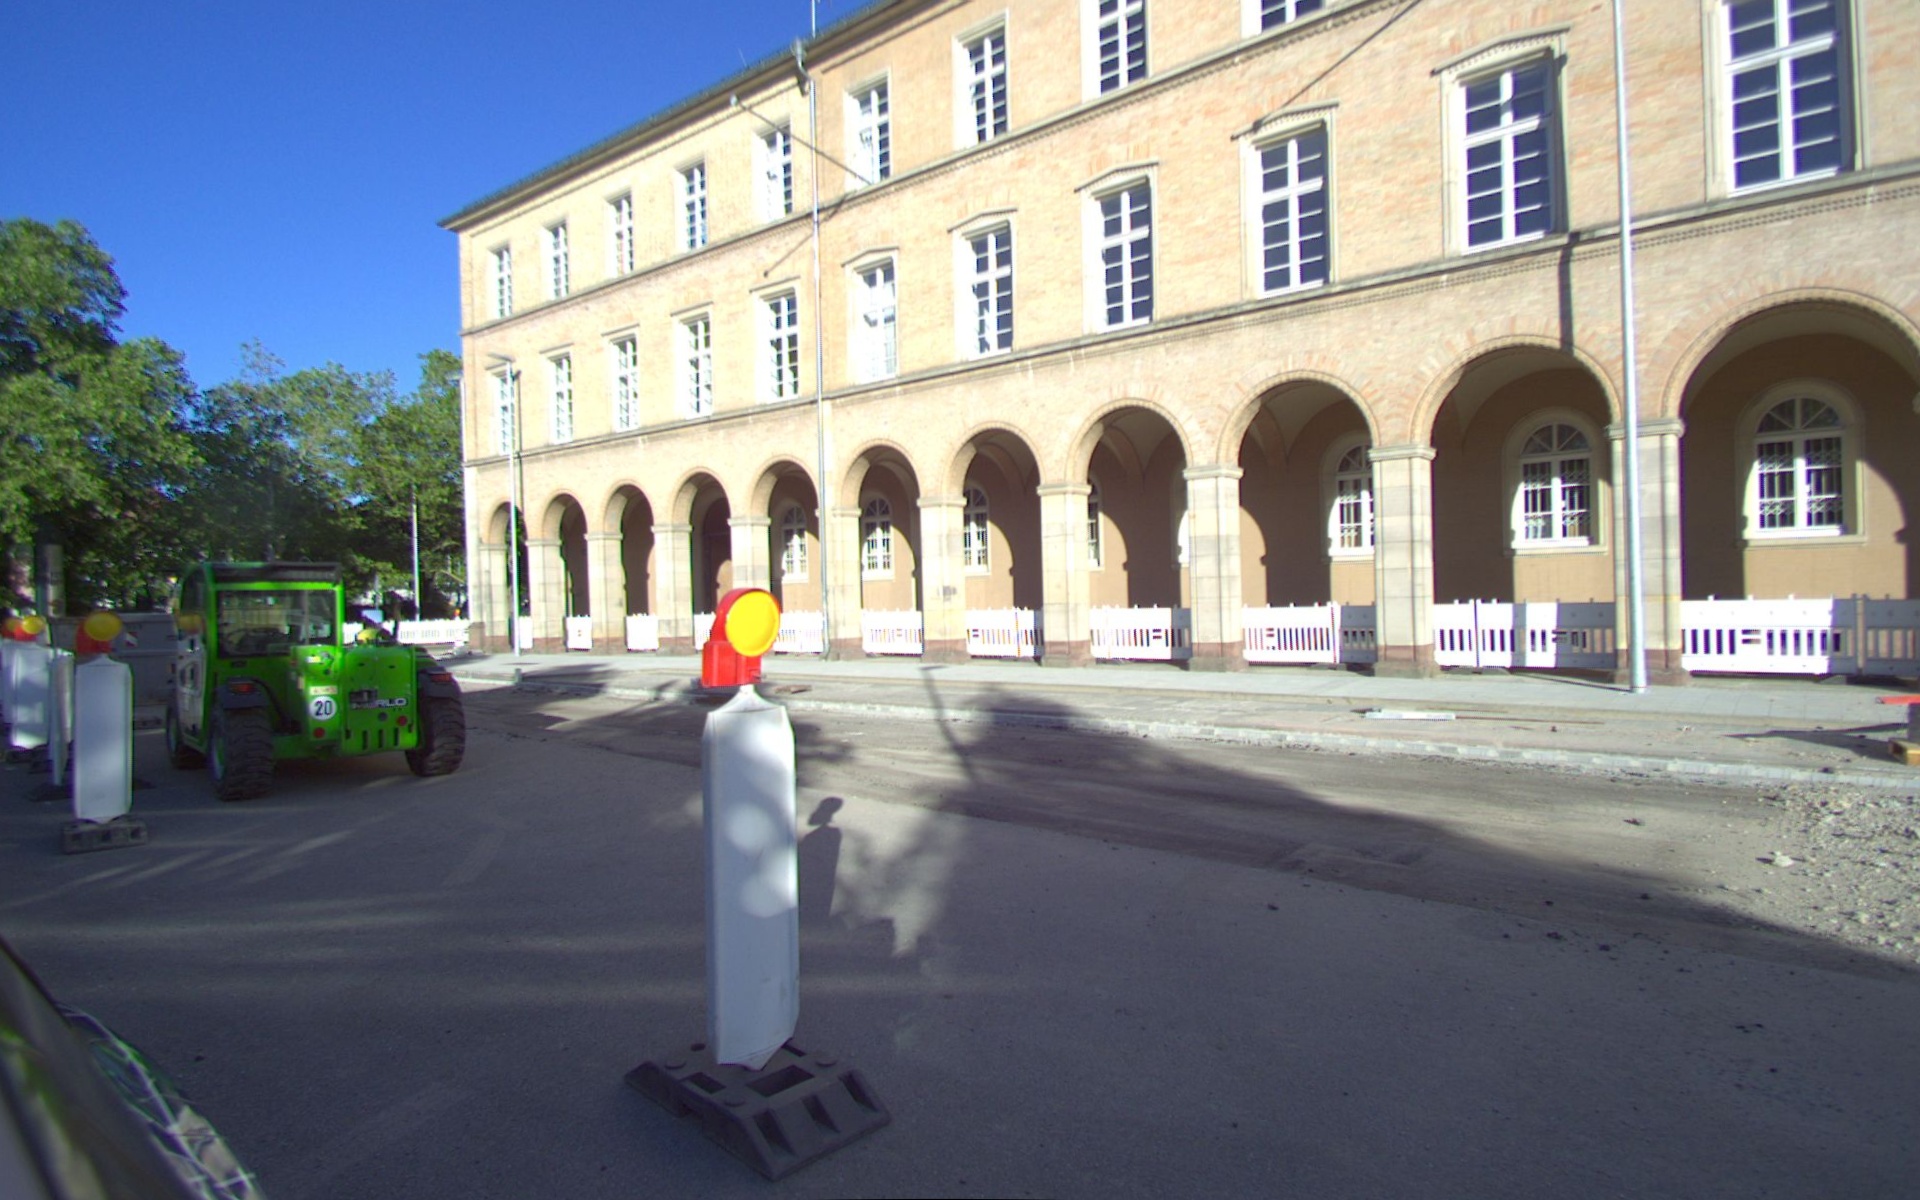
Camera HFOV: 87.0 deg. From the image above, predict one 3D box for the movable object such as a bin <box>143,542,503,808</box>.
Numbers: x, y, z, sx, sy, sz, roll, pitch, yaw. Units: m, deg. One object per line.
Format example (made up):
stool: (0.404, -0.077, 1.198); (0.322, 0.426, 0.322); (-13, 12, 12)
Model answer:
movable object such as a bin: (-6.286, 0.612, 9.748); (2.026, 1.964, 4.337); (-2, -1, -45)

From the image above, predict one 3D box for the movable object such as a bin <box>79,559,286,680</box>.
movable object such as a bin: (-21.929, 0.482, 28.959); (2.524, 3.054, 5.948); (-1, 0, -14)
